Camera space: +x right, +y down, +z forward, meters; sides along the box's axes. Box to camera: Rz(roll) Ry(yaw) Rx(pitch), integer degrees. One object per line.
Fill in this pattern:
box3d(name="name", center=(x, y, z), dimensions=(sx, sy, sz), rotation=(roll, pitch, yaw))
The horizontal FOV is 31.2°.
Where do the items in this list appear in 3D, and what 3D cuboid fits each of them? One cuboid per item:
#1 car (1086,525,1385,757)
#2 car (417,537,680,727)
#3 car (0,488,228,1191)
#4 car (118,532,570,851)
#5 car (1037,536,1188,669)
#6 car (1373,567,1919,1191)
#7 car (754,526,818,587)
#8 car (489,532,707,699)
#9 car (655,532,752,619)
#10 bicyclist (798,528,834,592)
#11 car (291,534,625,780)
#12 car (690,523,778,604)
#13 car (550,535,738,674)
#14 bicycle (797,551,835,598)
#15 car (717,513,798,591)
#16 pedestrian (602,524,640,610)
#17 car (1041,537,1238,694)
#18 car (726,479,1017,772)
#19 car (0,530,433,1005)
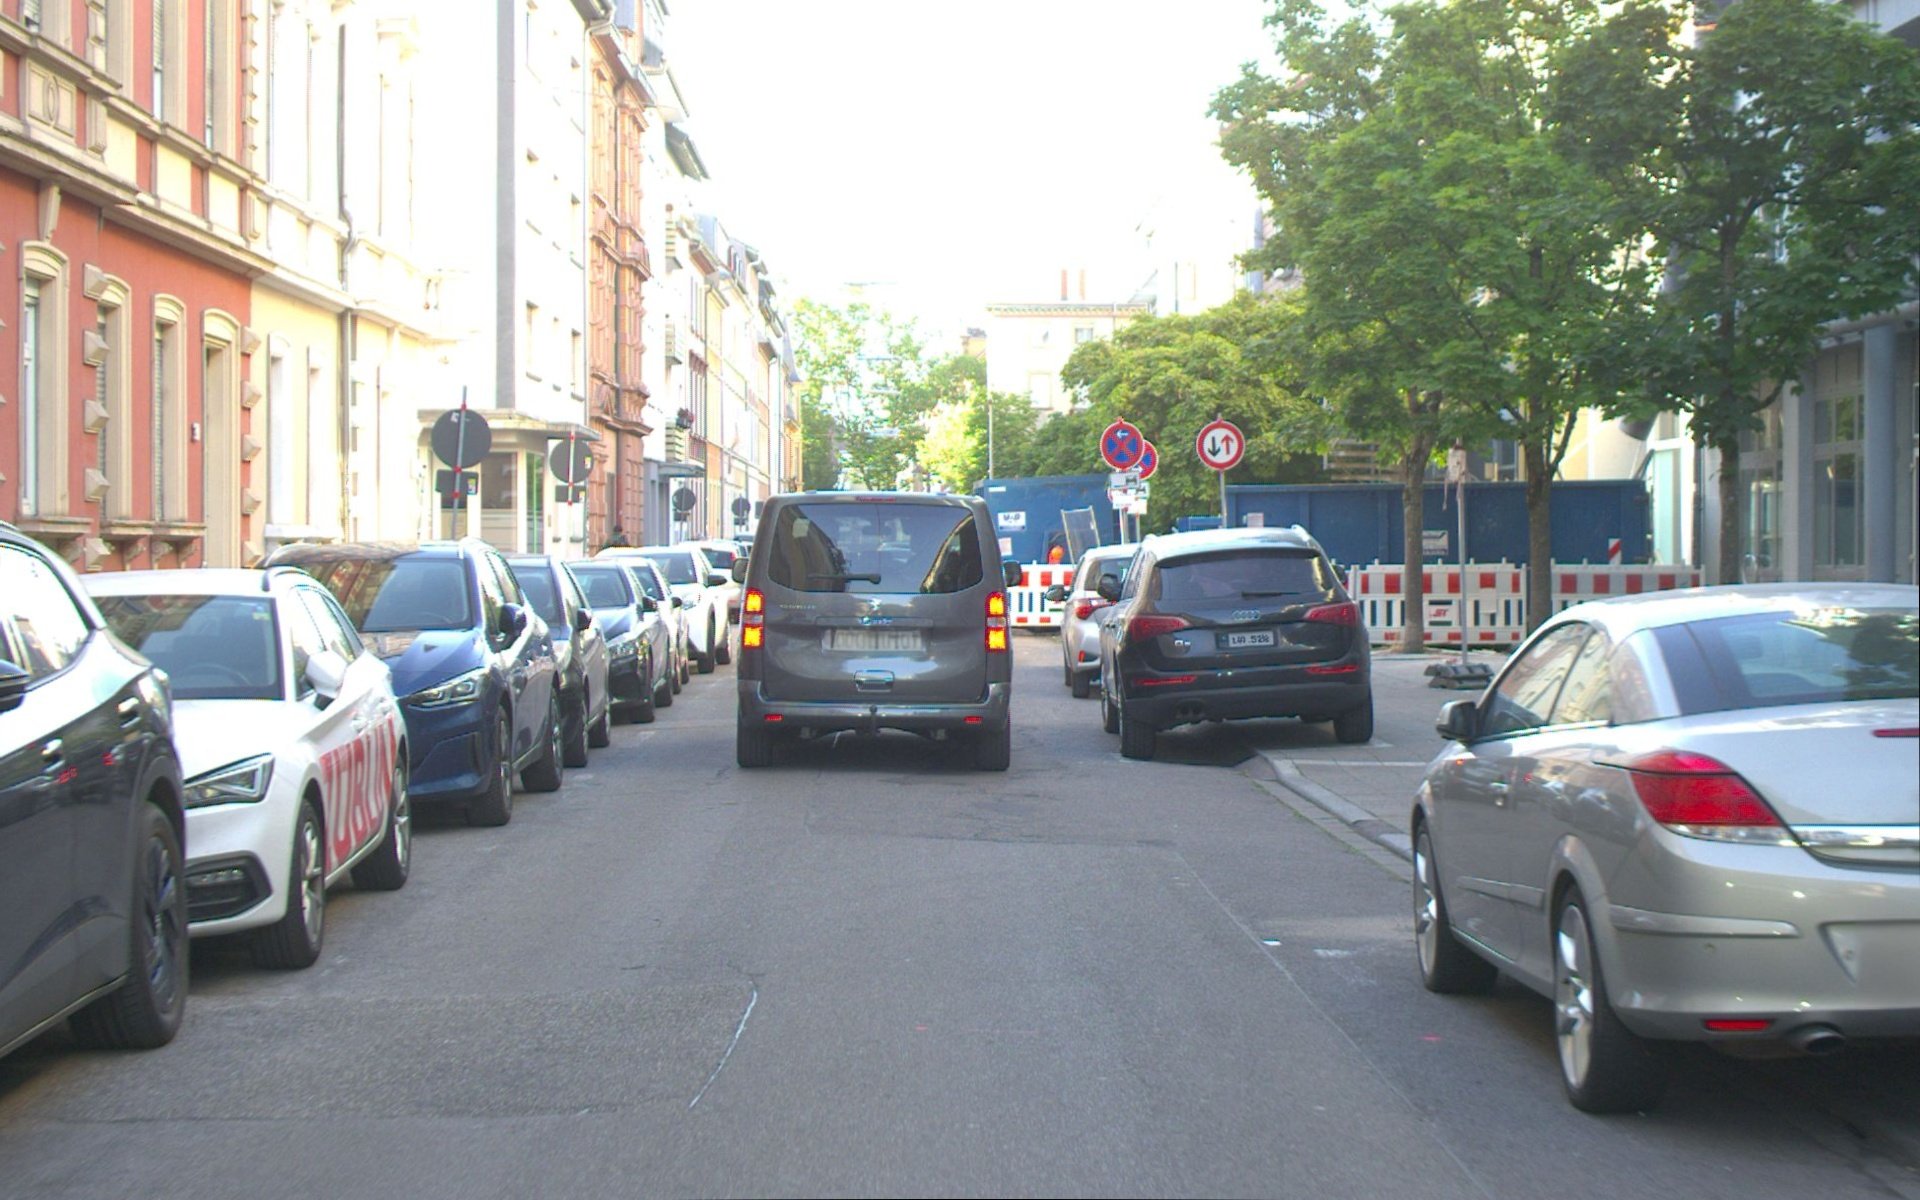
box3d(name="car", center=(2.062, 0.257, 26.927), dimensions=(1.885, 1.617, 4.434), rotation=(-1, 1, -1))
box3d(name="car", center=(-3.585, 0.229, 30.658), dimensions=(1.920, 1.479, 4.267), rotation=(-2, 2, -2))
box3d(name="car", center=(-3.271, 0.578, 8.788), dimensions=(1.920, 1.658, 4.469), rotation=(-2, 2, -2))
box3d(name="car", center=(-3.413, 0.429, 19.842), dimensions=(1.920, 1.554, 4.267), rotation=(-2, 2, -2))
box3d(name="car", center=(1.790, -0.008, 40.844), dimensions=(1.676, 1.470, 3.729), rotation=(-1, 1, 2))
box3d(name="car", center=(2.448, 0.652, 10.463), dimensions=(1.763, 1.424, 4.345), rotation=(-1, 1, -1))
box3d(name="car", center=(-5.851, -1.455, 115.272), dimensions=(1.891, 1.840, 4.349), rotation=(5, 0, -4))
box3d(name="car", center=(-3.728, 0.114, 36.079), dimensions=(1.920, 1.554, 4.267), rotation=(-2, 2, -2))
box3d(name="car", center=(-4.820, -0.463, 64.563), dimensions=(1.656, 1.455, 3.418), rotation=(5, 0, -4))
box3d(name="bicyclist", center=(-3.234, -0.897, 77.232), dimensions=(0.733, 1.407, 0.940), rotation=(2, 1, 0))
box3d(name="car", center=(-3.573, 0.341, 25.186), dimensions=(1.901, 1.554, 4.241), rotation=(-2, 2, -2))
box3d(name="car", center=(-5.322, -0.847, 80.625), dimensions=(1.891, 1.713, 3.754), rotation=(5, 0, -4))
box3d(name="car", center=(-3.753, 0.012, 41.481), dimensions=(1.920, 1.502, 4.267), rotation=(-2, 2, -1))
box3d(name="bicycle", center=(-3.249, -0.574, 77.525), dimensions=(0.733, 1.024, 2.115), rotation=(2, 1, 0))
box3d(name="car", center=(-5.323, -1.245, 89.993), dimensions=(1.891, 1.840, 4.349), rotation=(5, 0, -4))
box3d(name="pedestrian", center=(-6.619, -0.647, 67.136), dimensions=(0.740, 1.659, 0.704), rotation=(0, 1, -5))
box3d(name="car", center=(1.827, 0.121, 36.109), dimensions=(1.676, 1.520, 3.971), rotation=(-2, 1, -2))
box3d(name="car", center=(-0.612, 0.147, 24.534), dimensions=(1.865, 1.880, 4.235), rotation=(1, 0, -1))
box3d(name="car", center=(-3.353, 0.540, 13.738), dimensions=(1.920, 1.554, 4.267), rotation=(-2, 2, -2))
